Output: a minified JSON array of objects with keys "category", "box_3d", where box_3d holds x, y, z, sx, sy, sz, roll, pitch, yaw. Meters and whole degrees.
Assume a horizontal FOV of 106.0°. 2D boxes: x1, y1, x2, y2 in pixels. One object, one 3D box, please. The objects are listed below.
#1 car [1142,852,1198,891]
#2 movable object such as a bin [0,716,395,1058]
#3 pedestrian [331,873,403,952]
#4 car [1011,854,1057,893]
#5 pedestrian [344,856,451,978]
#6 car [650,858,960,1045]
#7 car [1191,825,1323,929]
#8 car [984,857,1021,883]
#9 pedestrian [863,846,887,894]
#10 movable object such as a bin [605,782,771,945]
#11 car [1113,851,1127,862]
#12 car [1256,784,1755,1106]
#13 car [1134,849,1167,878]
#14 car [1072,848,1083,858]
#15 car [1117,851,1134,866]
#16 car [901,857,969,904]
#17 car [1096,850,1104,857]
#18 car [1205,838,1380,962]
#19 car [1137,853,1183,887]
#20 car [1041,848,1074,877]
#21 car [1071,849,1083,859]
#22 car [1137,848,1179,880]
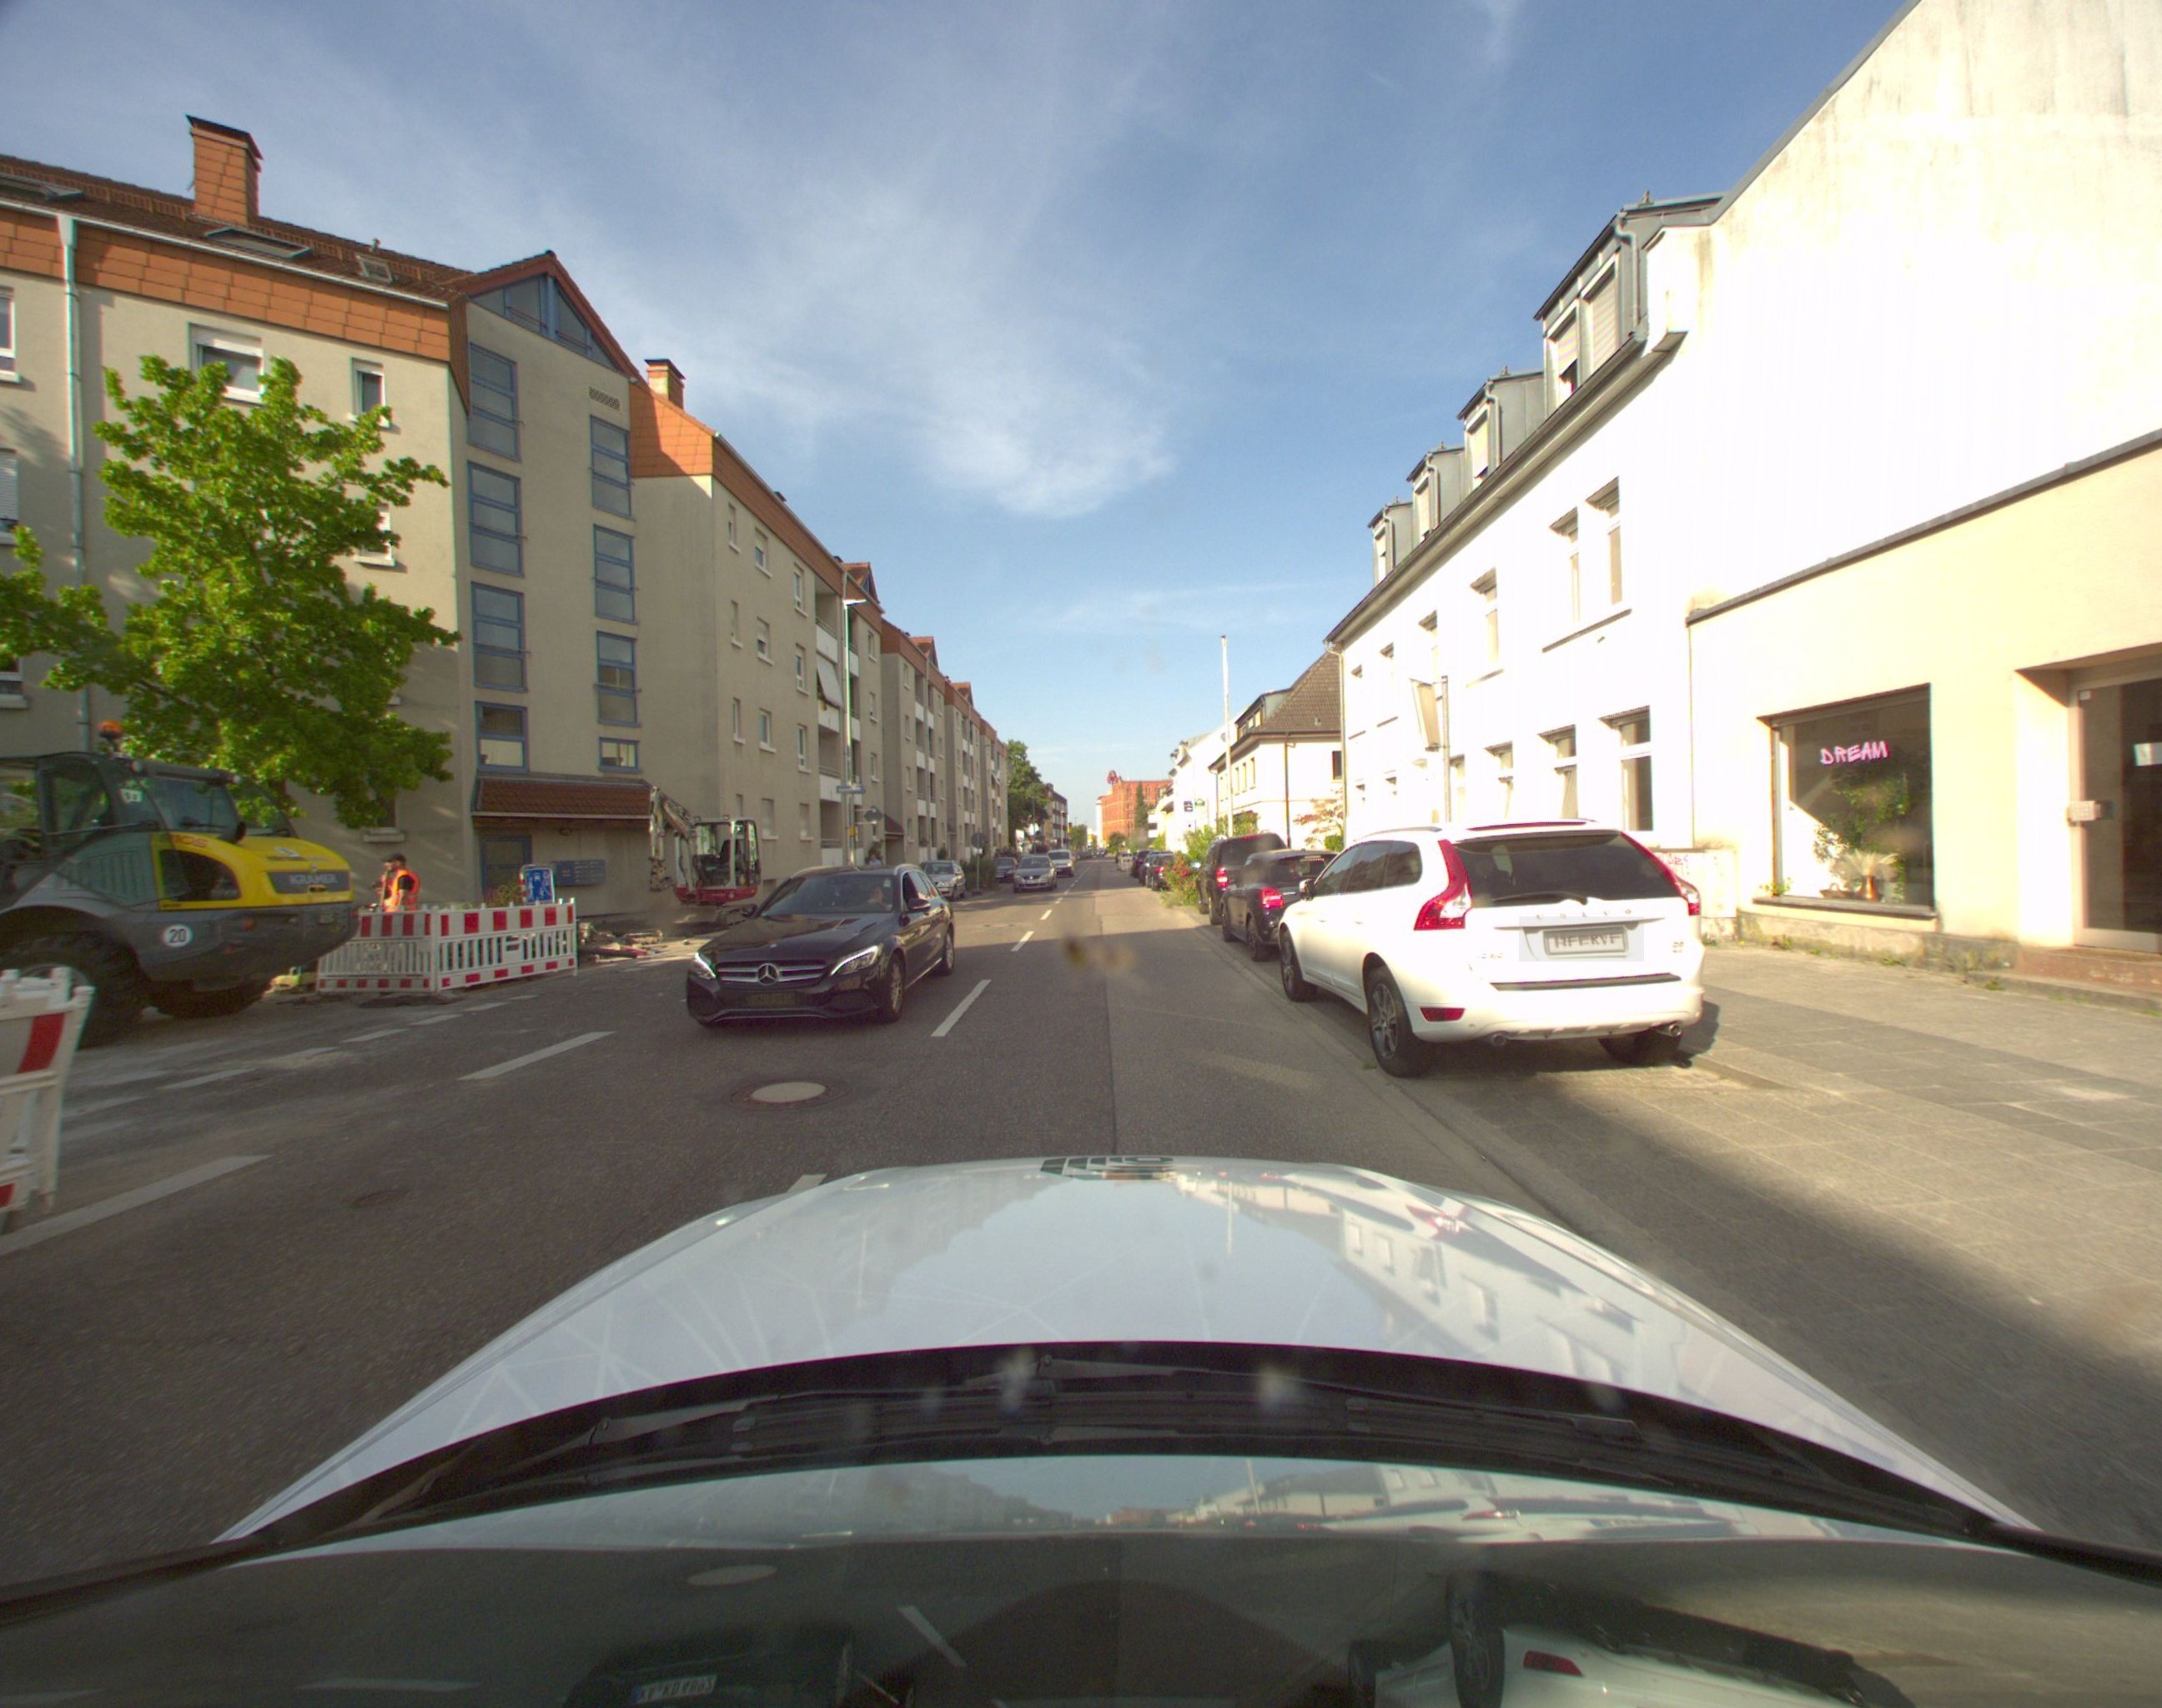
[{"category":"car","box_3d":[3.494,0.650,32.741,1.773,1.420,4.496,-1,0,0]},{"category":"movable object such as a bin","box_3d":[-10.363,0.278,7.689,5.505,2.900,2.102,-1,1,-14]},{"category":"pedestrian","box_3d":[-10.383,0.840,11.860,0.497,1.100,0.597,-1,0,1]},{"category":"car","box_3d":[-1.924,0.783,34.194,1.612,1.455,3.685,-2,0,0]},{"category":"pedestrian","box_3d":[-9.746,0.861,11.648,0.665,1.664,0.994,-1,0,2]},{"category":"car","box_3d":[-2.564,0.804,8.750,1.824,1.420,4.209,-2,0,0]},{"category":"car","box_3d":[3.630,0.402,17.681,2.066,1.856,4.615,-3,1,4]},{"category":"car","box_3d":[-4.441,0.883,46.496,1.680,1.405,4.084,-1,0,0]},{"category":"pedestrian","box_3d":[-8.042,0.621,31.787,0.716,1.818,0.745,-1,0,1]},{"category":"movable object such as a bin","box_3d":[-8.448,0.160,17.912,1.642,3.138,3.899,-2,1,0]},{"category":"car","box_3d":[5.383,0.365,113.138,1.852,1.472,4.001,0,0,1]},{"category":"car","box_3d":[2.862,0.495,6.804,1.806,1.683,4.477,-4,0,1]},{"category":"car","box_3d":[4.110,0.604,48.772,1.822,1.630,4.465,1,-1,3]},{"category":"car","box_3d":[-0.655,-0.169,164.219,1.986,1.881,4.002,-1,0,2]},{"category":"car","box_3d":[4.801,0.434,88.439,1.823,1.482,3.945,-2,0,2]},{"category":"car","box_3d":[-5.006,0.876,28.355,1.635,1.395,3.671,-4,0,0]},{"category":"car","box_3d":[4.724,-0.073,203.304,1.757,1.616,4.001,-2,0,1]},{"category":"car","box_3d":[3.091,0.606,12.869,1.583,1.528,4.614,-3,0,1]},{"category":"car","box_3d":[3.631,0.688,38.190,1.823,1.420,4.610,-1,0,1]},{"category":"car","box_3d":[-1.488,0.544,53.142,1.915,1.767,4.338,-2,0,0]},{"category":"car","box_3d":[-0.745,0.009,158.121,1.986,1.907,4.003,-2,0,2]},{"category":"car","box_3d":[4.083,0.504,43.628,1.824,1.560,4.317,-2,0,0]}]
